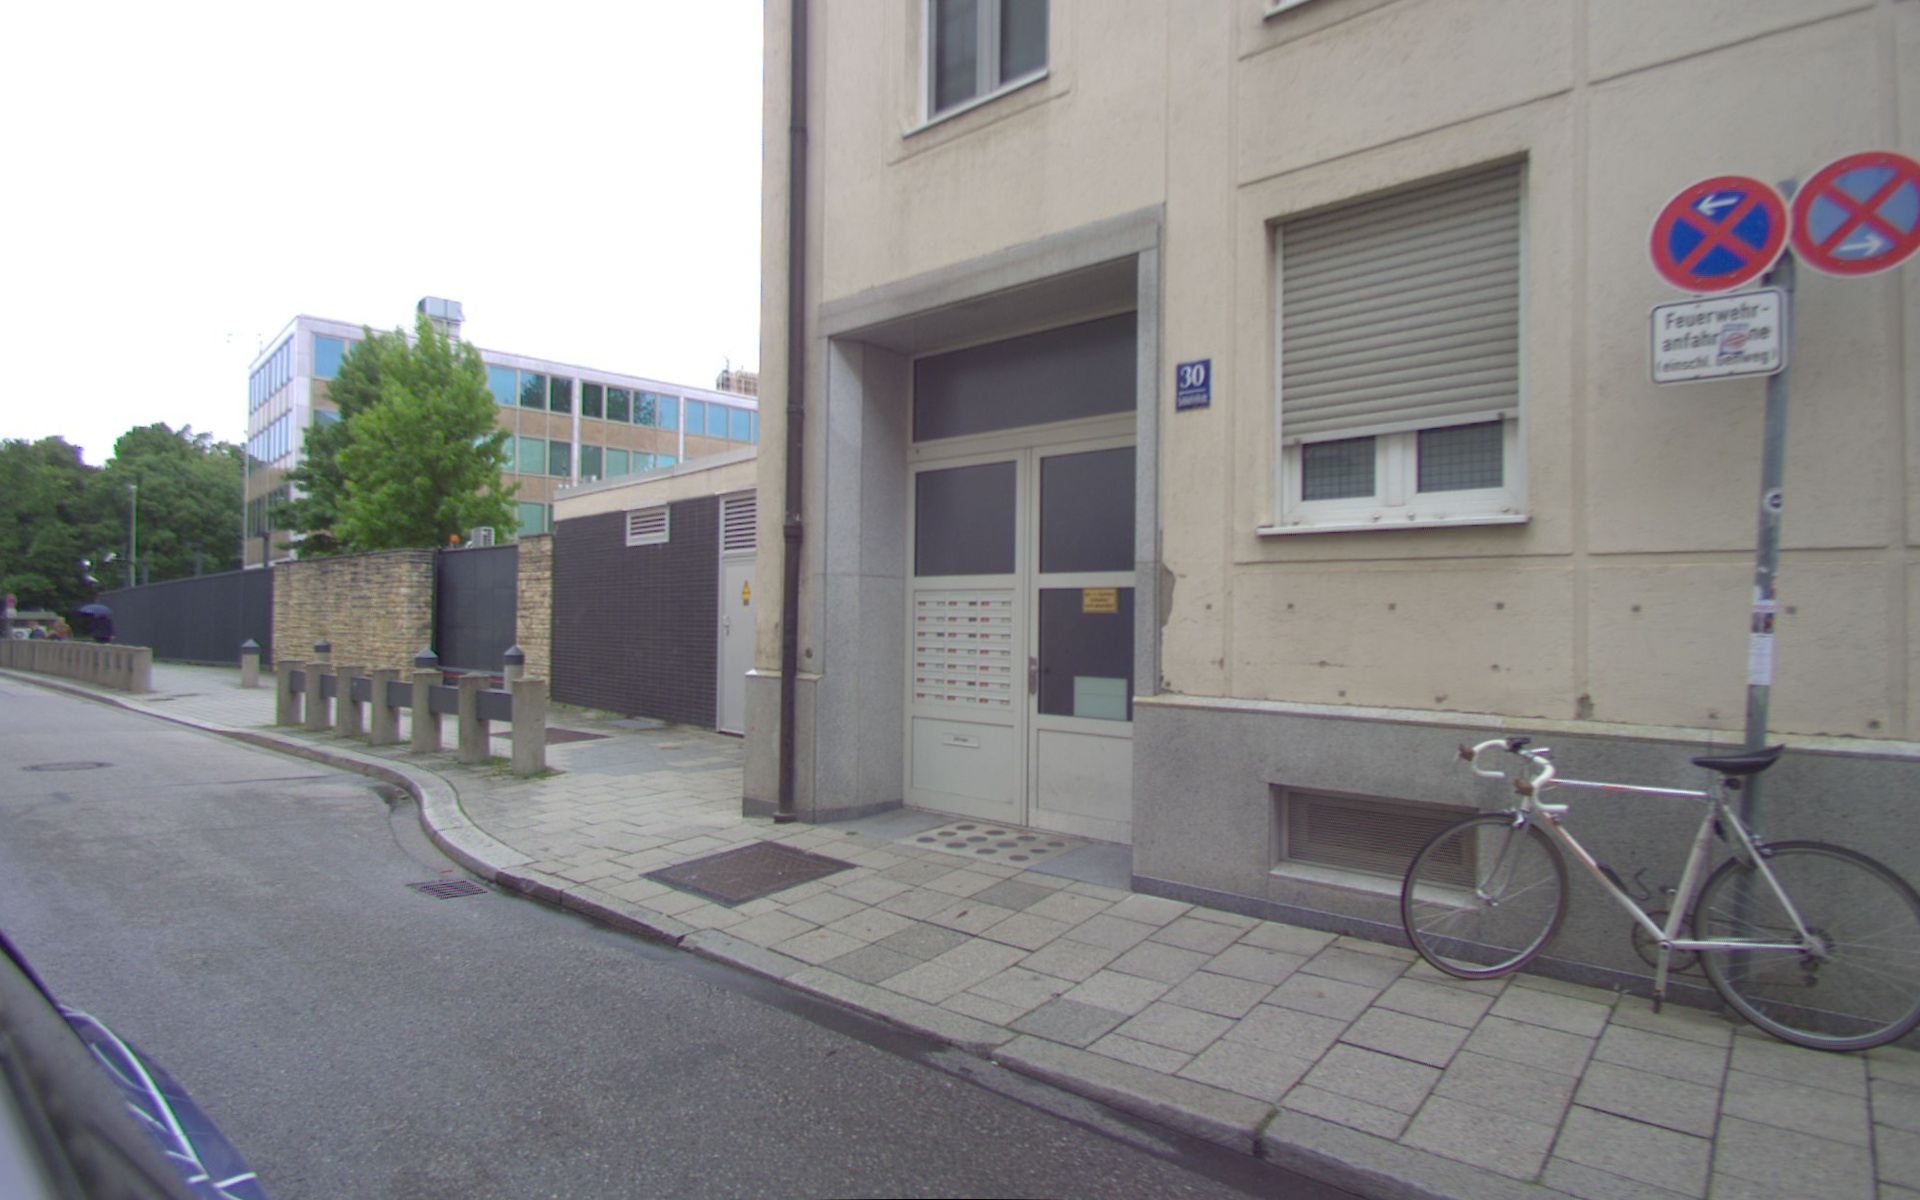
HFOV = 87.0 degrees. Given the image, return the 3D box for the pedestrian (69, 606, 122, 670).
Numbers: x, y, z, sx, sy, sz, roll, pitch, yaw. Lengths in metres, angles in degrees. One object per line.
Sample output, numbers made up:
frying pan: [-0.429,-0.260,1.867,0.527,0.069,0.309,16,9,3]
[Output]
pedestrian: [-29.338,1.290,34.346,1.116,2.120,1.209,-3,-3,43]

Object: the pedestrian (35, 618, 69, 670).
pedestrian: [-31.235,1.521,34.817,0.814,1.736,0.906,-1,-1,-44]

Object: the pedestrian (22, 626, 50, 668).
pedestrian: [-35.613,1.797,39.028,0.768,1.551,0.934,-1,-1,-42]

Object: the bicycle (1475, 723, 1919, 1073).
bicycle: [2.693,0.973,3.511,1.574,0.951,0.316,-1,0,43]
